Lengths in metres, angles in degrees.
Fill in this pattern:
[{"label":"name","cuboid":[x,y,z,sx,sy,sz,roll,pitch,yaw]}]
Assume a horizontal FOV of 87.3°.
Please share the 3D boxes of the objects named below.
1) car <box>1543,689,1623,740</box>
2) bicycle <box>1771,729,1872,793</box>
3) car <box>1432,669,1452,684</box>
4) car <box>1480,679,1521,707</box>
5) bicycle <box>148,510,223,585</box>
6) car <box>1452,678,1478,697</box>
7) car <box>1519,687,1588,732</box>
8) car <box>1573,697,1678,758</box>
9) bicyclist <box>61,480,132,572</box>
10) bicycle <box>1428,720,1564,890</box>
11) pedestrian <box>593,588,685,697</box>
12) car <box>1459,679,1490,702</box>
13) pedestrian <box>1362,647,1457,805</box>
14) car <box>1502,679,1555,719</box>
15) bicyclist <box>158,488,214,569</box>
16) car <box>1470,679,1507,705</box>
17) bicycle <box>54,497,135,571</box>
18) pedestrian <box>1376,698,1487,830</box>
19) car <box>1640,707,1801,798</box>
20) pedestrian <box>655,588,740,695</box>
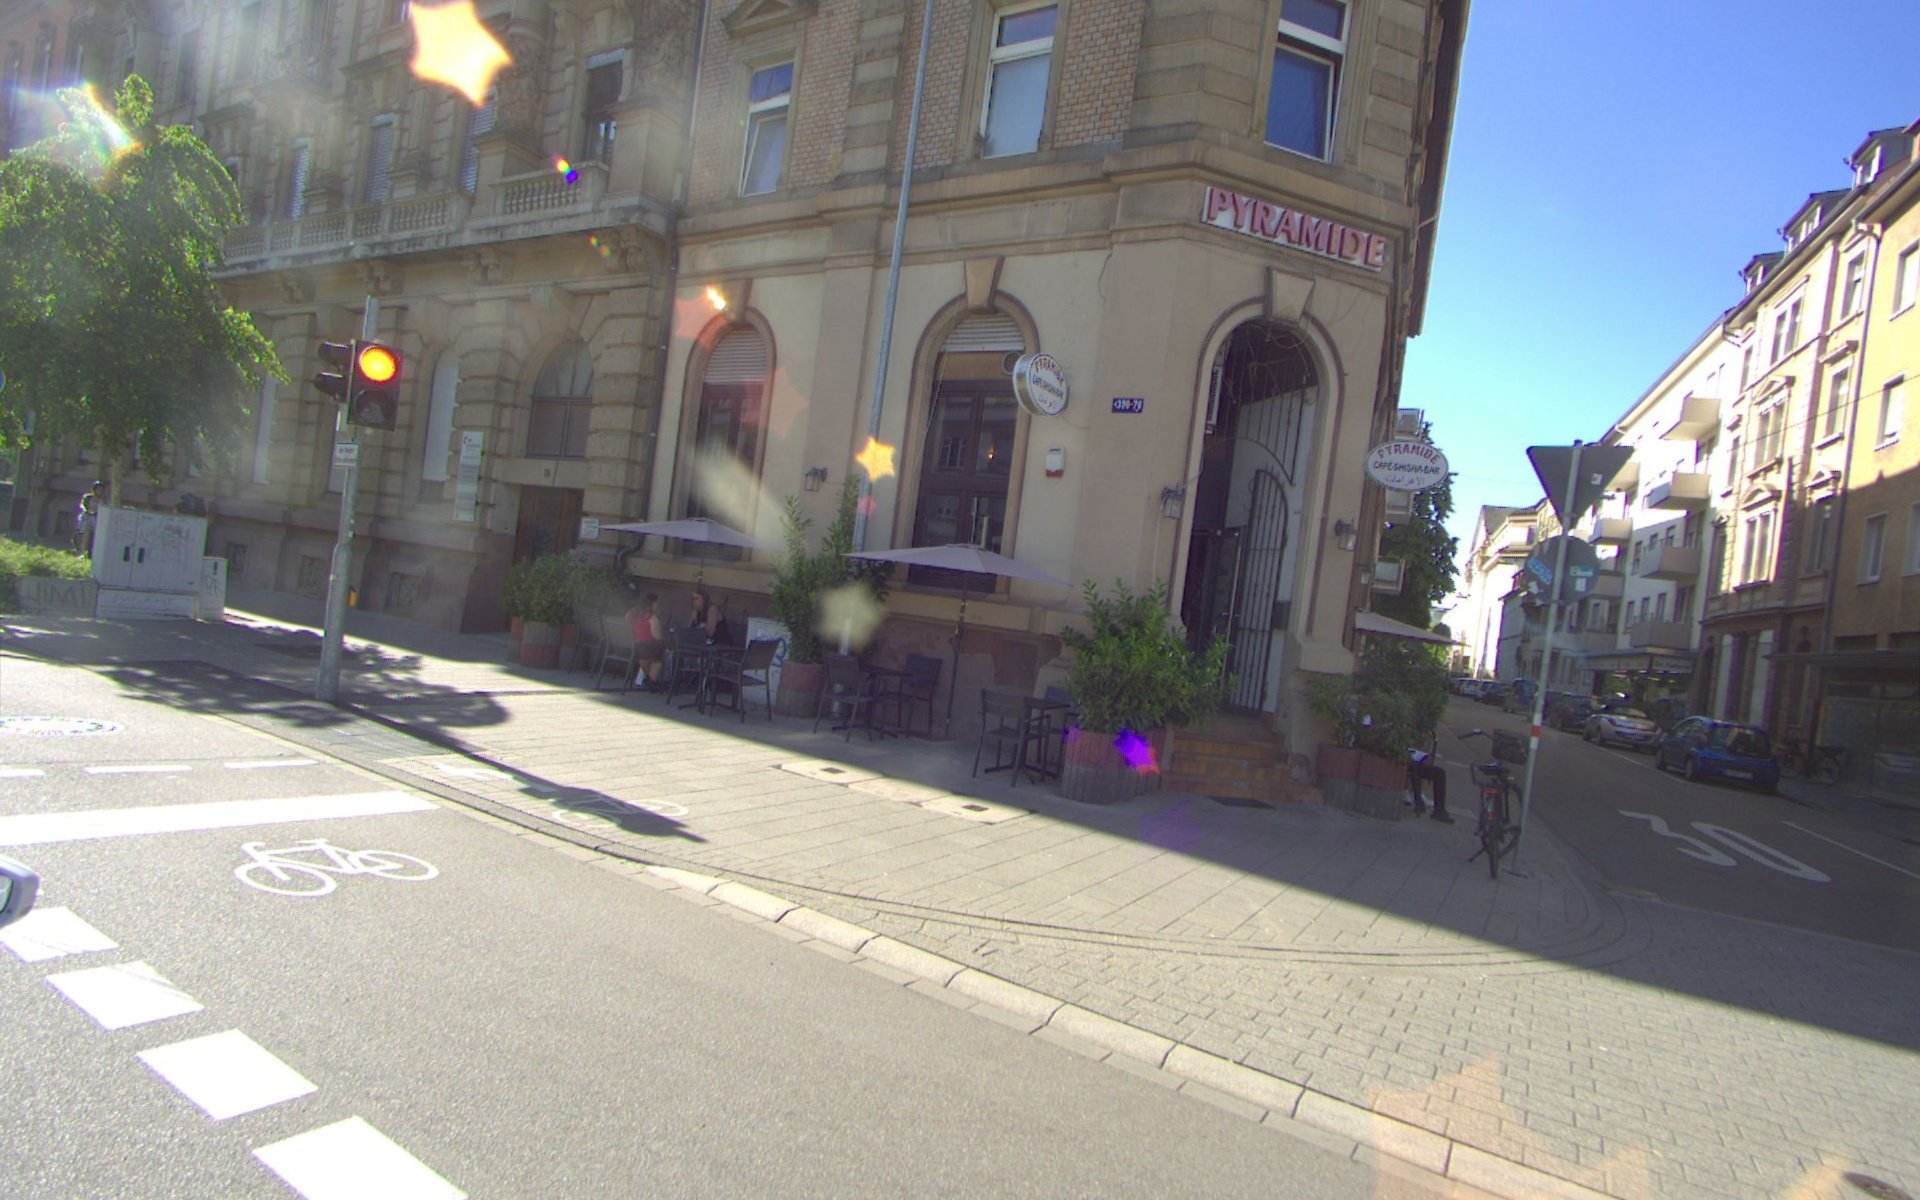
[{"label":"car","cuboid":[23.190,4.228,37.571,1.769,1.449,3.773,7,-1,22]},{"label":"bicycle","cuboid":[21.046,3.908,24.634,0.621,1.192,2.014,7,0,1]},{"label":"car","cuboid":[55.731,8.845,116.254,1.769,1.449,3.772,7,-1,24]},{"label":"car","cuboid":[34.126,5.861,63.576,1.769,1.449,3.772,7,-1,24]},{"label":"bicycle","cuboid":[-15.827,-1.088,20.547,1.869,1.349,0.615,8,5,33]},{"label":"car","cuboid":[46.659,8.101,93.045,1.769,1.449,3.772,7,-1,24]},{"label":"car","cuboid":[24.868,4.547,42.260,1.769,1.449,3.773,7,-1,22]},{"label":"car","cuboid":[20.737,3.933,31.504,1.769,1.350,4.000,10,0,22]},{"label":"bicyclist","cuboid":[-16.907,-1.446,19.702,0.944,1.659,0.667,8,1,31]},{"label":"bicycle","cuboid":[4.726,1.721,8.803,0.643,1.186,1.818,12,2,35]},{"label":"pedestrian","cuboid":[-3.827,0.508,12.017,0.624,1.193,0.706,7,2,31]},{"label":"car","cuboid":[40.247,7.045,78.808,1.769,1.449,3.772,7,-1,24]},{"label":"pedestrian","cuboid":[5.622,1.551,12.602,0.852,1.781,0.909,8,-1,25]},{"label":"car","cuboid":[29.125,5.047,51.621,1.769,1.685,3.772,7,0,23]},{"label":"bicyclist","cuboid":[-15.753,-1.458,20.471,0.788,1.552,0.660,8,5,33]},{"label":"car","cuboid":[36.058,6.252,68.696,1.769,1.449,3.772,7,-1,24]},{"label":"bicycle","cuboid":[-16.984,-1.308,19.727,1.868,1.237,0.584,8,0,32]},{"label":"pedestrian","cuboid":[5.152,1.763,11.030,0.917,1.228,0.852,8,-1,25]},{"label":"car","cuboid":[17.442,3.440,23.302,1.769,1.437,4.000,10,0,22]},{"label":"pedestrian","cuboid":[-3.341,0.528,12.841,0.624,1.252,0.706,7,2,31]}]
